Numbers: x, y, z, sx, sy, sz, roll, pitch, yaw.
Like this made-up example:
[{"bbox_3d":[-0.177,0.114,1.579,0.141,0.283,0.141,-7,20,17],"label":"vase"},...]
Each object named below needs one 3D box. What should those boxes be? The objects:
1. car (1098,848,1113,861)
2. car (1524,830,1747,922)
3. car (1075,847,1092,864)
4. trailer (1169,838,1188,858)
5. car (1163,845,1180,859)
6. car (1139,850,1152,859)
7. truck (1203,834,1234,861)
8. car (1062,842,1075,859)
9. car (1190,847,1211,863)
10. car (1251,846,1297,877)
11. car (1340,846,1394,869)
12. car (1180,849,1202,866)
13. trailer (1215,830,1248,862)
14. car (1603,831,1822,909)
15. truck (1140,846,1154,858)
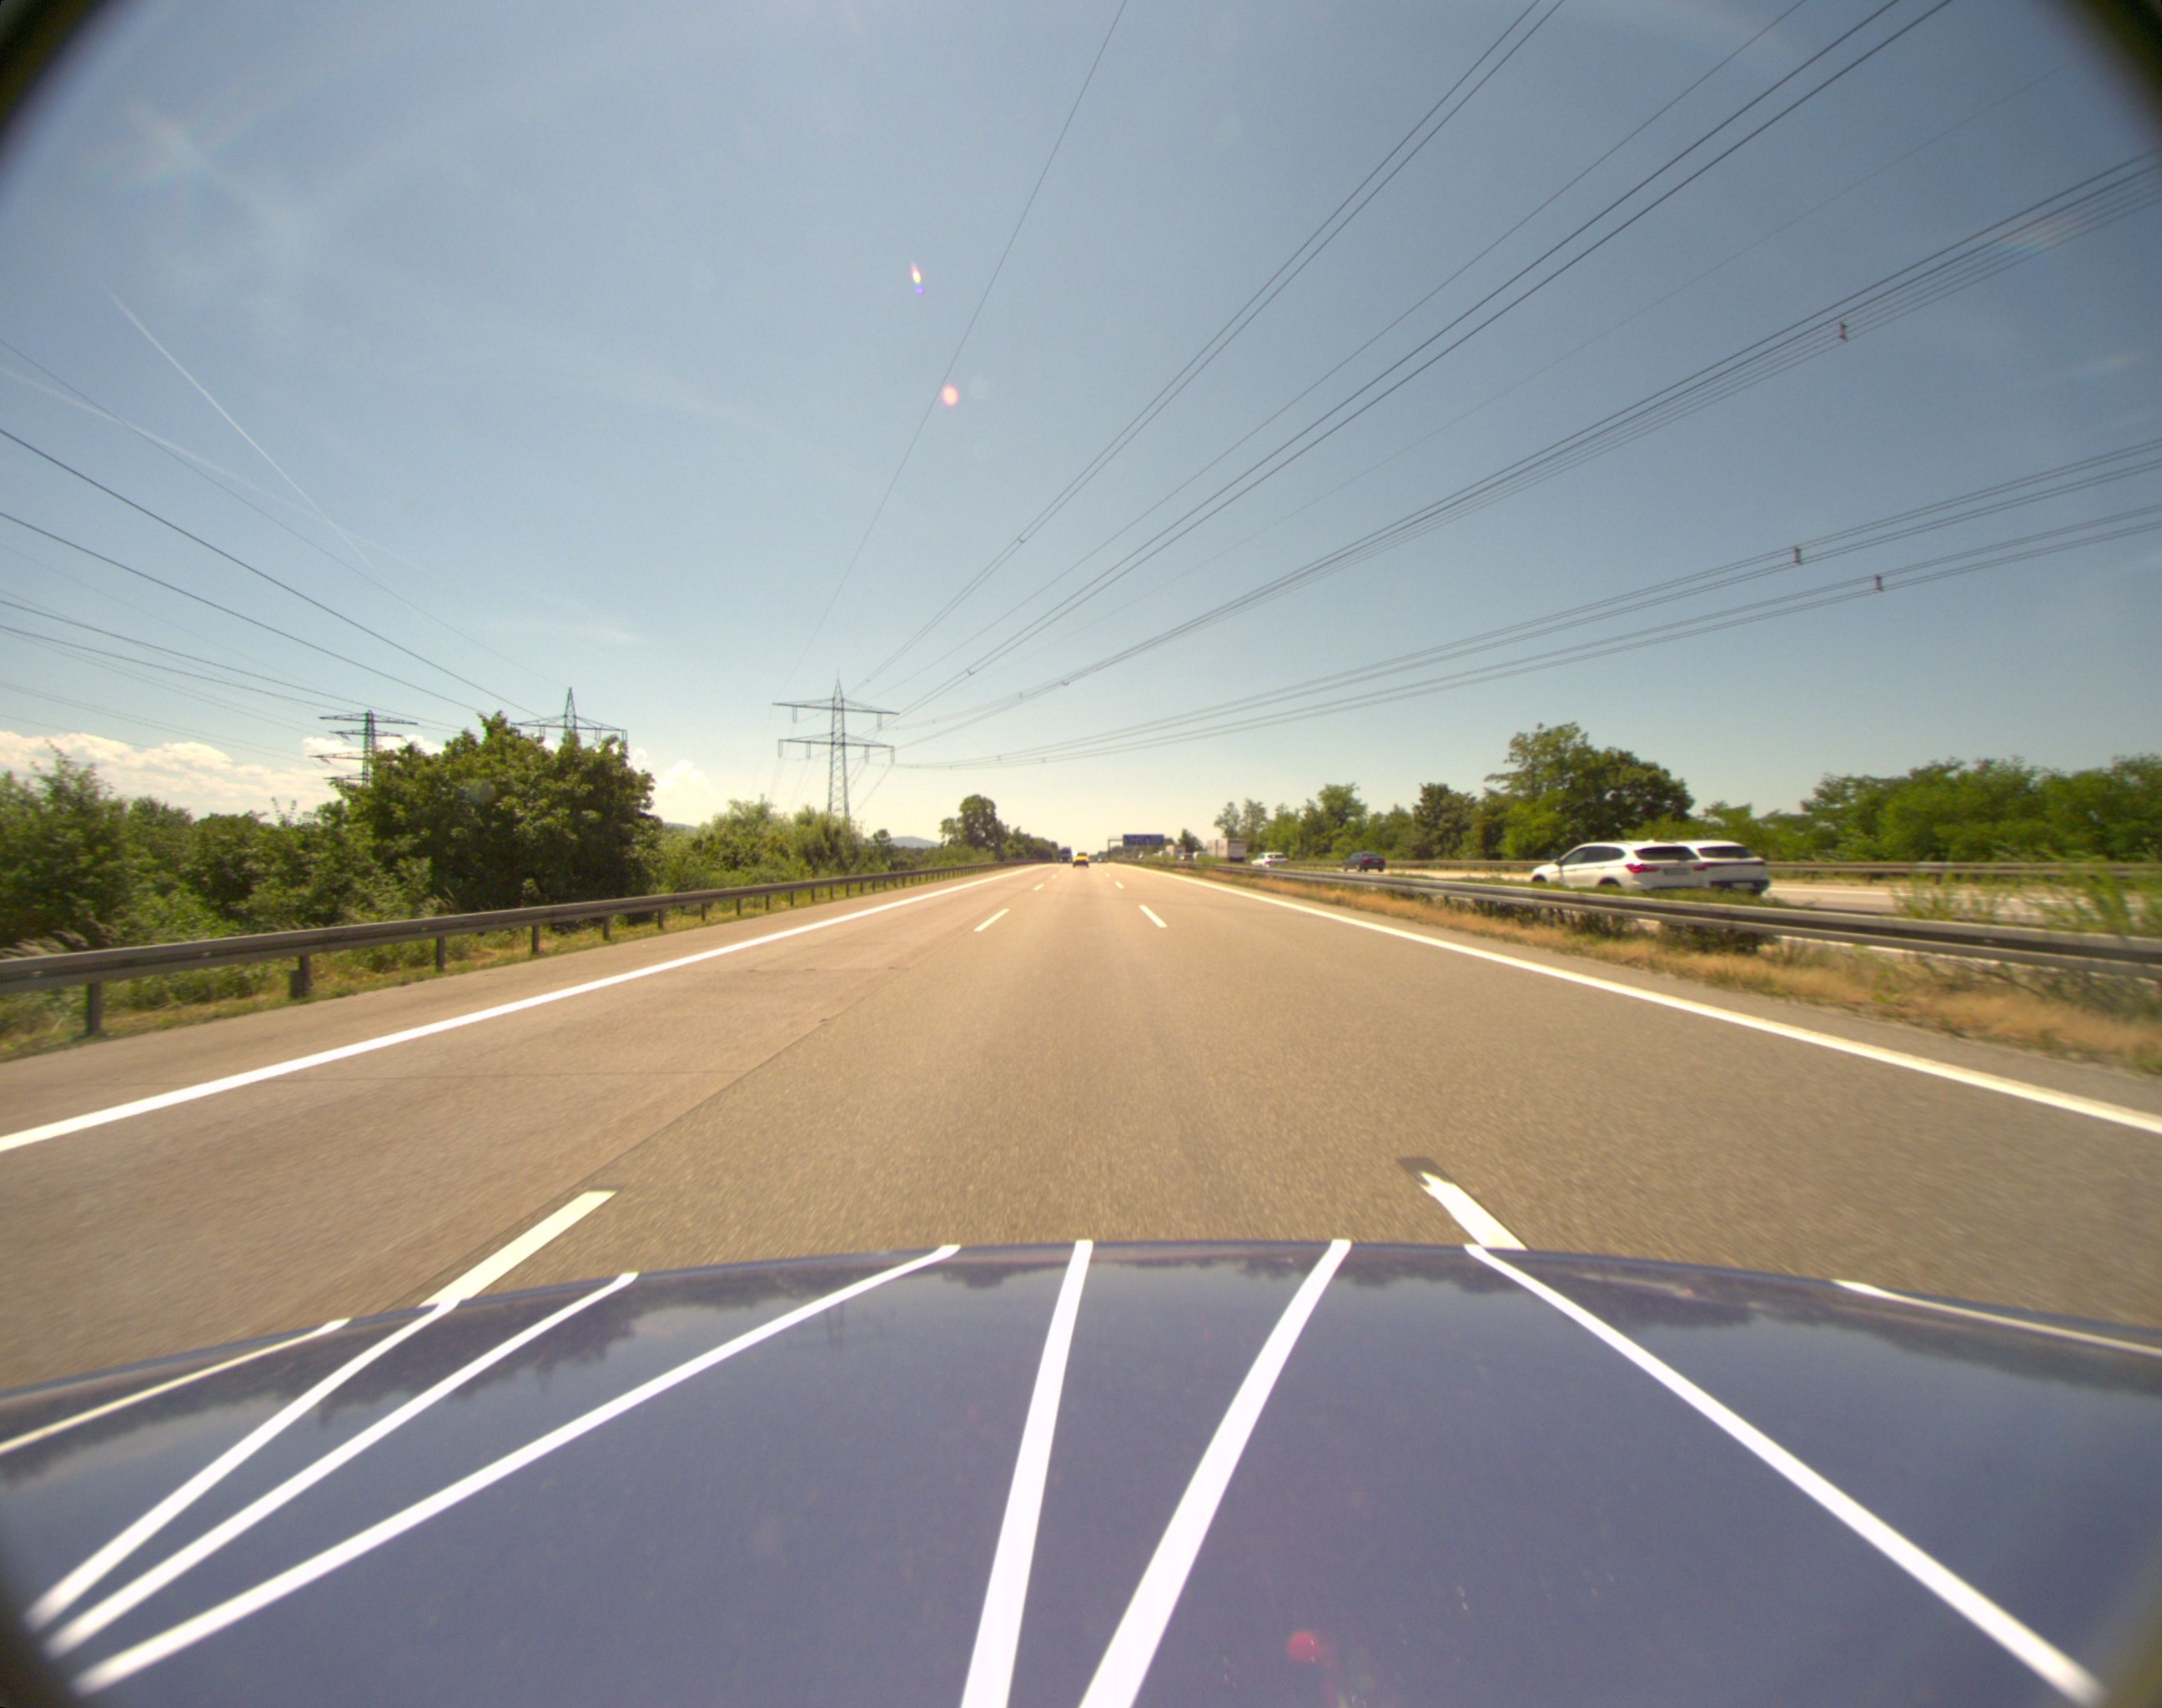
[{"bbox_3d":[4.839,0.109,149.674,2.686,2.509,5.967,-1,0,0],"label":"car"},{"bbox_3d":[12.869,0.469,18.086,1.998,1.842,4.534,-2,0,1],"label":"car"},{"bbox_3d":[0.243,0.203,91.243,1.955,2.002,5.433,-1,0,0],"label":"car"},{"bbox_3d":[21.825,-1.226,171.258,2.429,4.264,14.432,-2,0,0],"label":"trailer"},{"bbox_3d":[17.917,-0.381,150.973,2.489,2.564,7.121,-2,0,0],"label":"car"},{"bbox_3d":[14.018,0.104,166.037,2.489,2.002,4.557,-2,0,0],"label":"car"},{"bbox_3d":[20.761,-0.945,115.598,2.699,3.926,10.593,-2,0,0],"label":"truck"},{"bbox_3d":[-2.752,-0.652,169.982,2.686,3.723,6.270,-1,0,0],"label":"car"},{"bbox_3d":[16.512,0.163,105.440,1.998,2.002,5.701,-2,0,1],"label":"car"},{"bbox_3d":[13.470,0.484,53.267,1.998,2.002,4.921,-2,0,1],"label":"car"},{"bbox_3d":[21.360,0.262,56.951,1.999,1.652,5.087,0,0,-1],"label":"car"},{"bbox_3d":[13.222,0.404,91.299,1.998,2.002,4.626,-2,0,1],"label":"car"},{"bbox_3d":[20.893,-1.097,106.096,2.848,4.140,8.327,-2,0,0],"label":"trailer"},{"bbox_3d":[16.334,0.378,20.032,1.998,1.751,4.534,-2,0,1],"label":"car"},{"bbox_3d":[21.727,-0.575,250.310,3.252,3.780,17.013,-2,0,1],"label":"truck"}]
